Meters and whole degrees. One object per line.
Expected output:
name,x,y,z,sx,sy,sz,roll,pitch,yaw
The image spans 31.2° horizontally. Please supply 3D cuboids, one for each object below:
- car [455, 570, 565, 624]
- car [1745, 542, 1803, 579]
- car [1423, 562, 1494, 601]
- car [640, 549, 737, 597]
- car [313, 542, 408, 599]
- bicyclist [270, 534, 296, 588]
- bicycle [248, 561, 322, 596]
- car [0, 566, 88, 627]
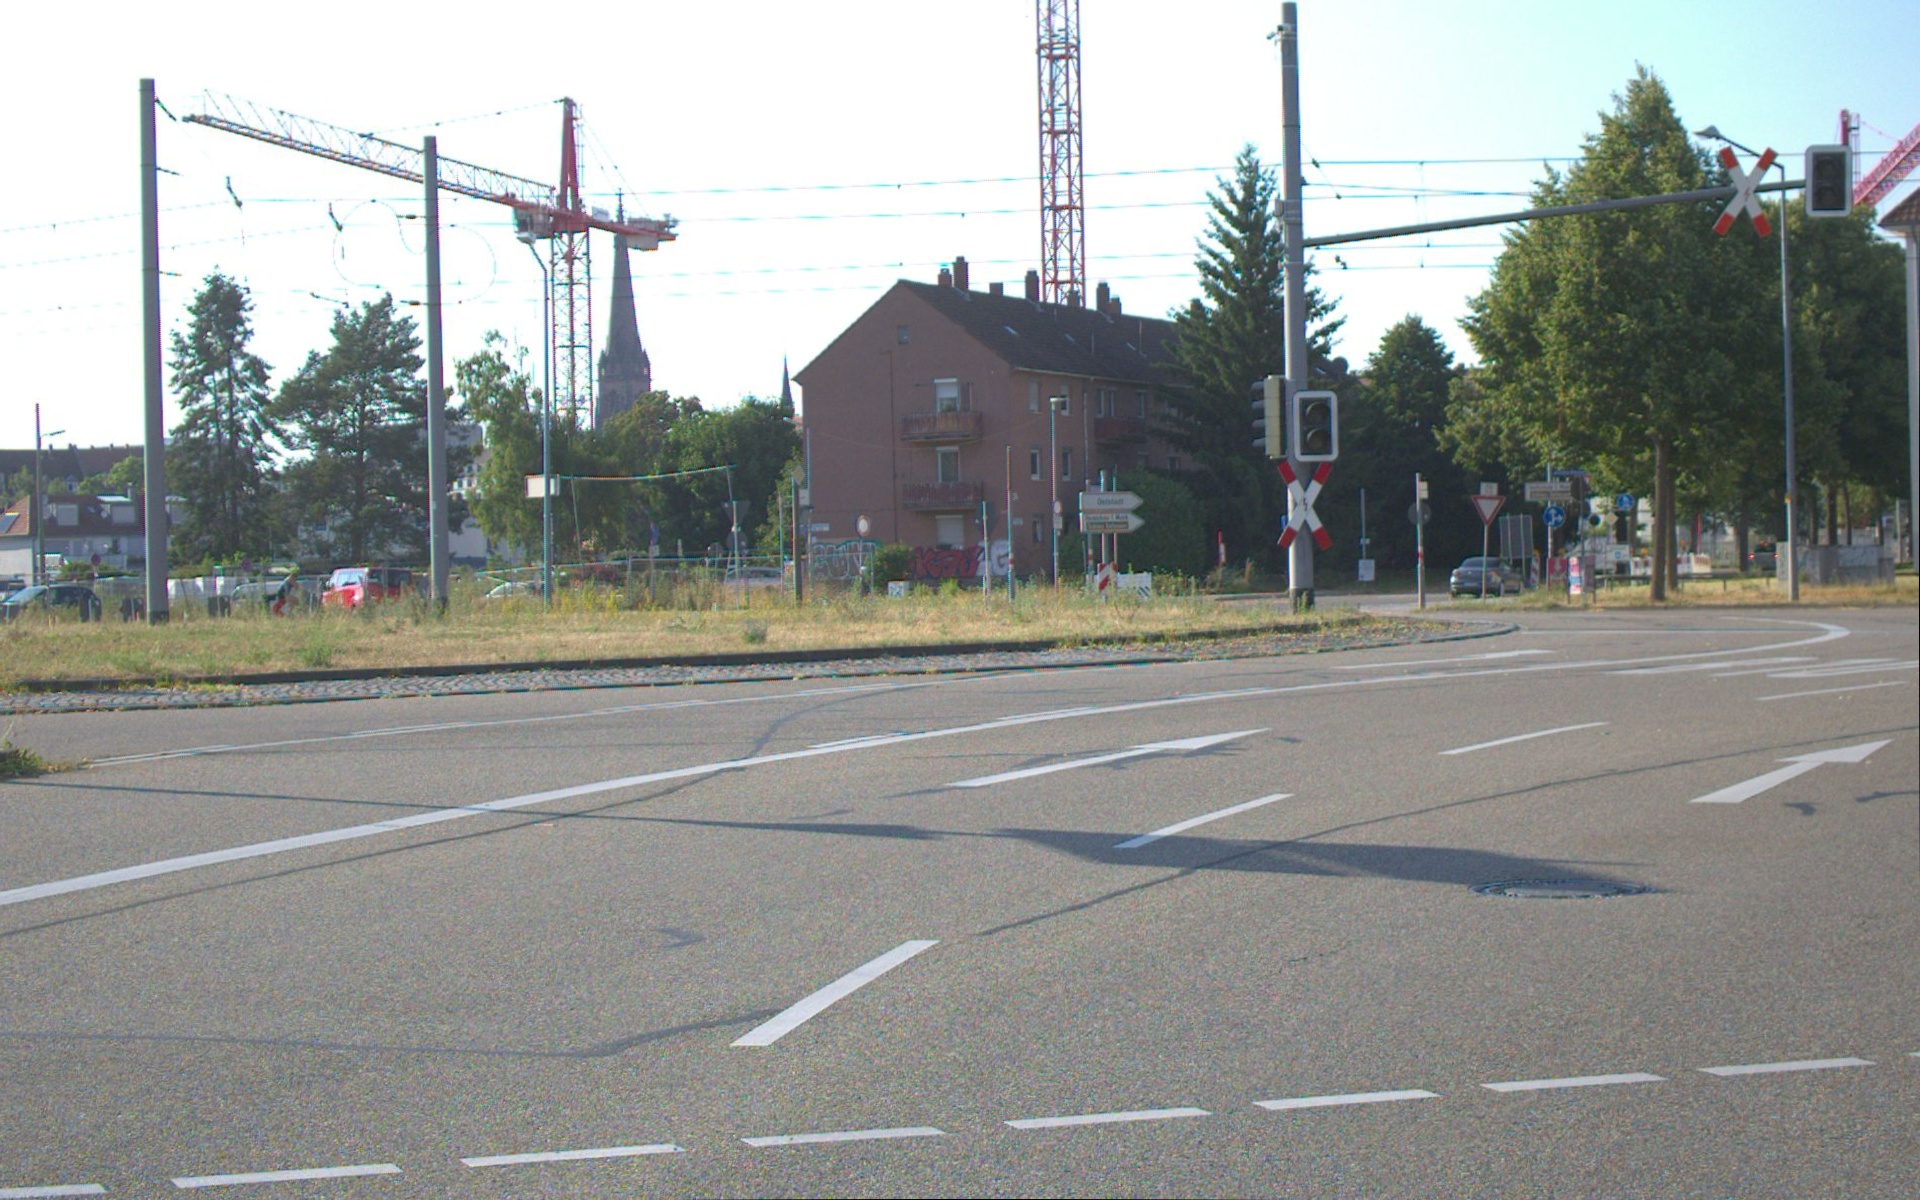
car,-17.353,-0.122,132.534,3.812,2.007,1.670,-1,0,19
car,39.804,-1.934,167.996,1.996,1.774,3.995,1,1,24
car,17.556,-0.662,120.890,1.457,1.295,3.544,-1,1,26
car,-11.793,-1.163,149.096,3.812,2.007,1.670,-1,0,19
car,-20.279,-1.003,116.225,1.919,1.847,4.000,-2,1,-29
bicyclist,-18.893,-1.092,95.929,0.622,1.506,0.419,-1,1,-5
bicycle,-18.836,-0.596,95.943,1.987,0.915,0.430,-1,1,-6
car,-29.110,-0.101,105.686,3.987,1.809,2.000,-2,1,-32
